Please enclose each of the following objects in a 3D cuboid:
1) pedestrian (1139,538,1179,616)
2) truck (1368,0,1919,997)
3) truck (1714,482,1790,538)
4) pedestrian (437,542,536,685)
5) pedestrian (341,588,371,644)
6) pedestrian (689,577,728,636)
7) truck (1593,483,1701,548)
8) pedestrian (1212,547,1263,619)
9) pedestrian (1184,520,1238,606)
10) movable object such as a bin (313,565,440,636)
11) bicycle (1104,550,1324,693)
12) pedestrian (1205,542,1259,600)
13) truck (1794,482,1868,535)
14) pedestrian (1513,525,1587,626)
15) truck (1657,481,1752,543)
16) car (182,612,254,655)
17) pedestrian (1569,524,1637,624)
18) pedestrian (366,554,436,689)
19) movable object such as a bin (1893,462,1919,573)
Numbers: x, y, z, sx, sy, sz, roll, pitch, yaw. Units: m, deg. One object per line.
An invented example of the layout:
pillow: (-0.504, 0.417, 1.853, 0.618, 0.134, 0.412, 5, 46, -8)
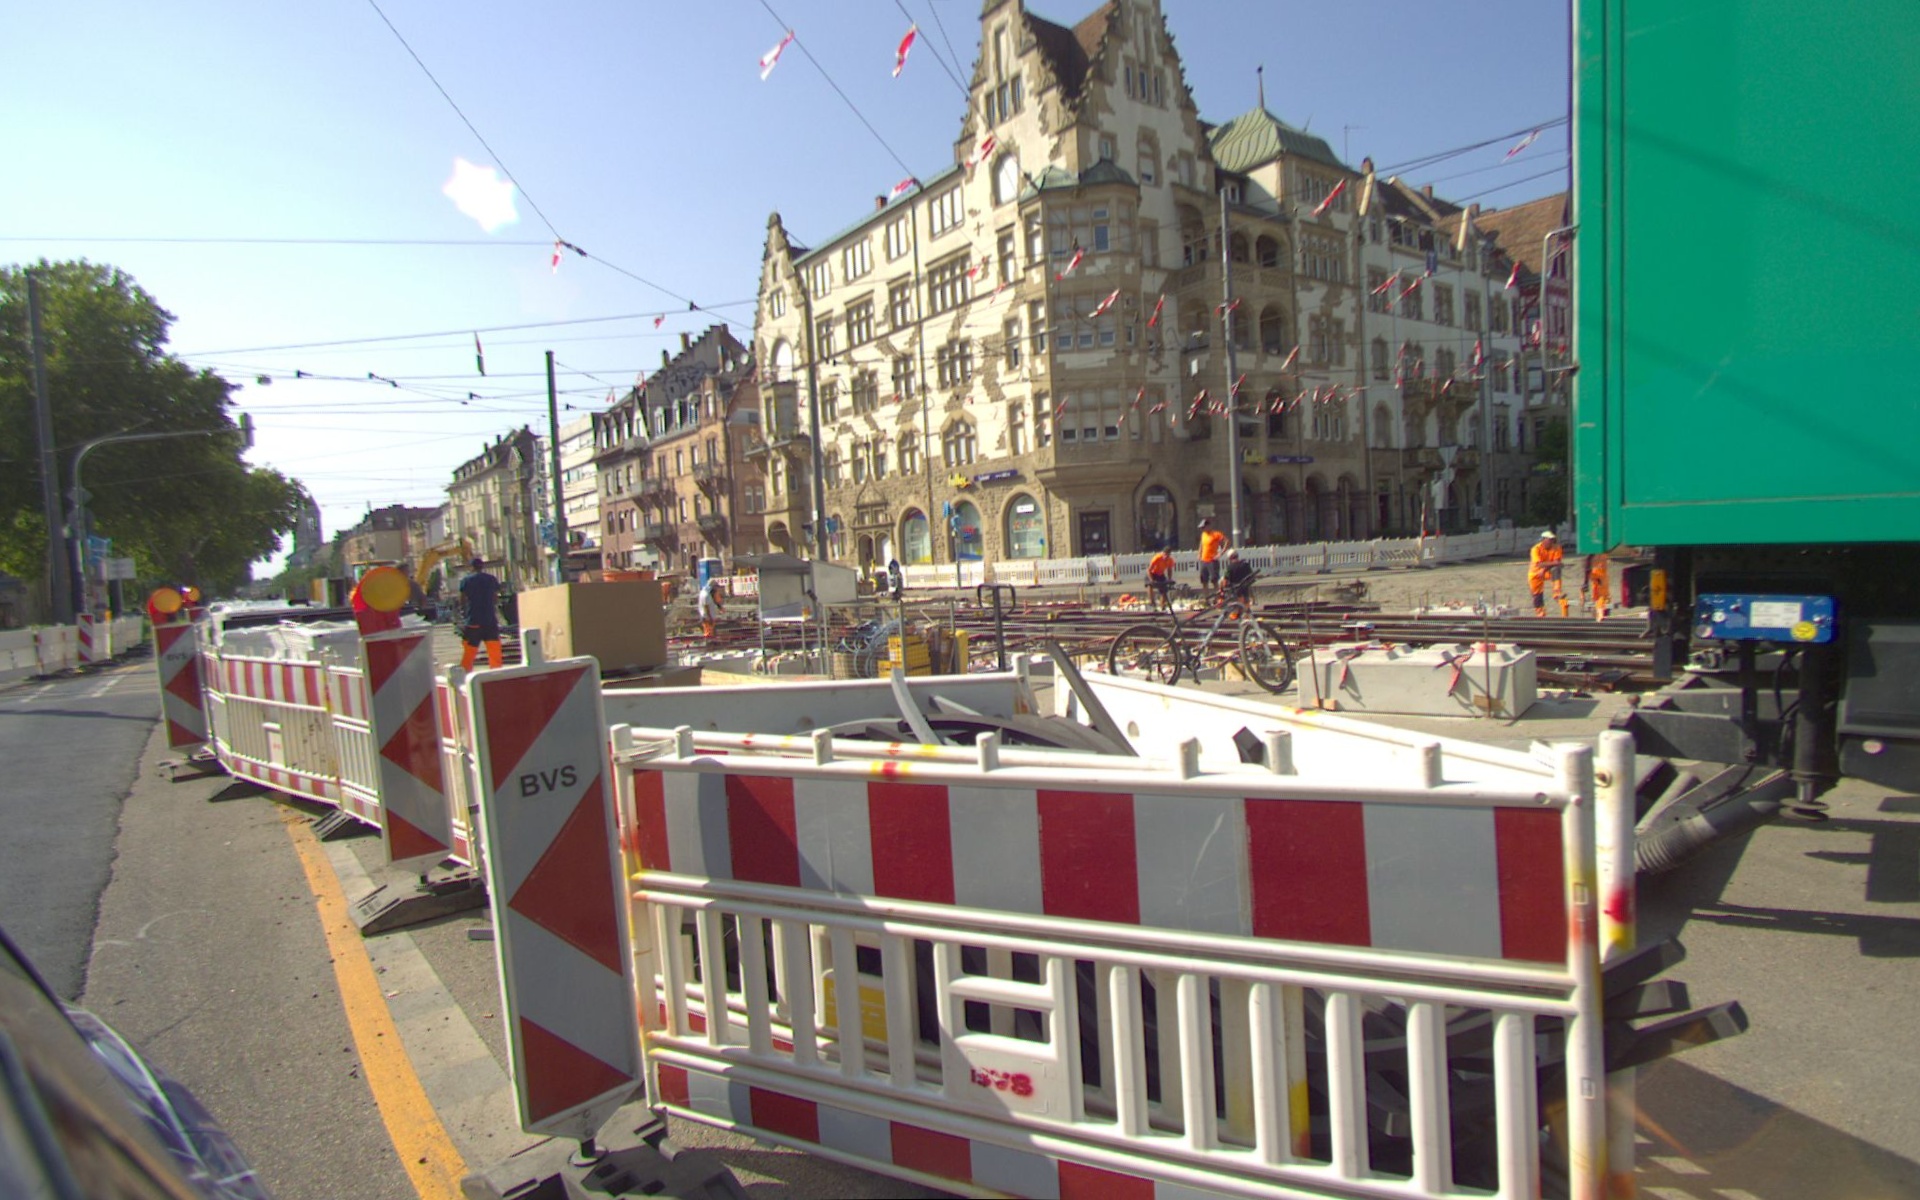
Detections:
pedestrian: (4.144, -0.476, 21.071, 0.729, 1.568, 0.751, -3, 1, 11)
truck: (5.616, -1.061, 1.290, 9.017, 3.817, 2.777, -2, 1, 44)
truck: (47.669, -5.425, 60.828, 6.257, 3.066, 2.242, -5, 2, -40)
pedestrian: (-6.485, 0.172, 13.863, 0.802, 1.854, 0.908, -2, 1, 44)
pedestrian: (-19.762, 0.508, 33.143, 0.690, 1.752, 0.915, -4, 1, -27)
pedestrian: (-5.526, 0.142, 22.244, 0.546, 1.256, 0.541, -2, 1, 36)
truck: (33.838, -4.142, 49.762, 5.946, 2.836, 2.696, -5, 2, -39)
pedestrian: (5.003, -0.307, 18.241, 0.667, 1.256, 0.548, -4, 1, -38)
pedestrian: (5.132, -0.754, 20.672, 0.741, 1.715, 0.680, -4, 1, -37)
movable object such as a bin: (-21.091, -0.011, 36.636, 2.915, 2.427, 3.132, 0, 1, 38)
bicycle: (2.262, 0.179, 9.172, 1.776, 1.157, 0.675, -3, 2, 2)
pedestrian: (5.820, -0.612, 21.635, 0.721, 1.192, 0.867, -1, 1, -44)
truck: (51.269, -5.369, 59.529, 6.257, 2.810, 2.242, -5, 2, -40)
pedestrian: (10.417, -0.433, 17.882, 0.729, 1.715, 0.761, -4, 1, -18)
truck: (40.763, -4.796, 55.352, 6.257, 3.066, 2.636, -5, 2, -40)
car: (-27.829, 1.215, 38.074, 1.967, 1.405, 4.010, -4, 1, -34)
pedestrian: (11.350, -0.454, 17.873, 0.729, 1.715, 0.760, -4, 1, -38)
pedestrian: (-7.717, 0.283, 13.974, 0.708, 1.788, 0.466, -4, 1, -36)
movable object such as a bin: (27.129, -2.305, 26.814, 5.431, 2.809, 2.497, -5, 3, -36)
